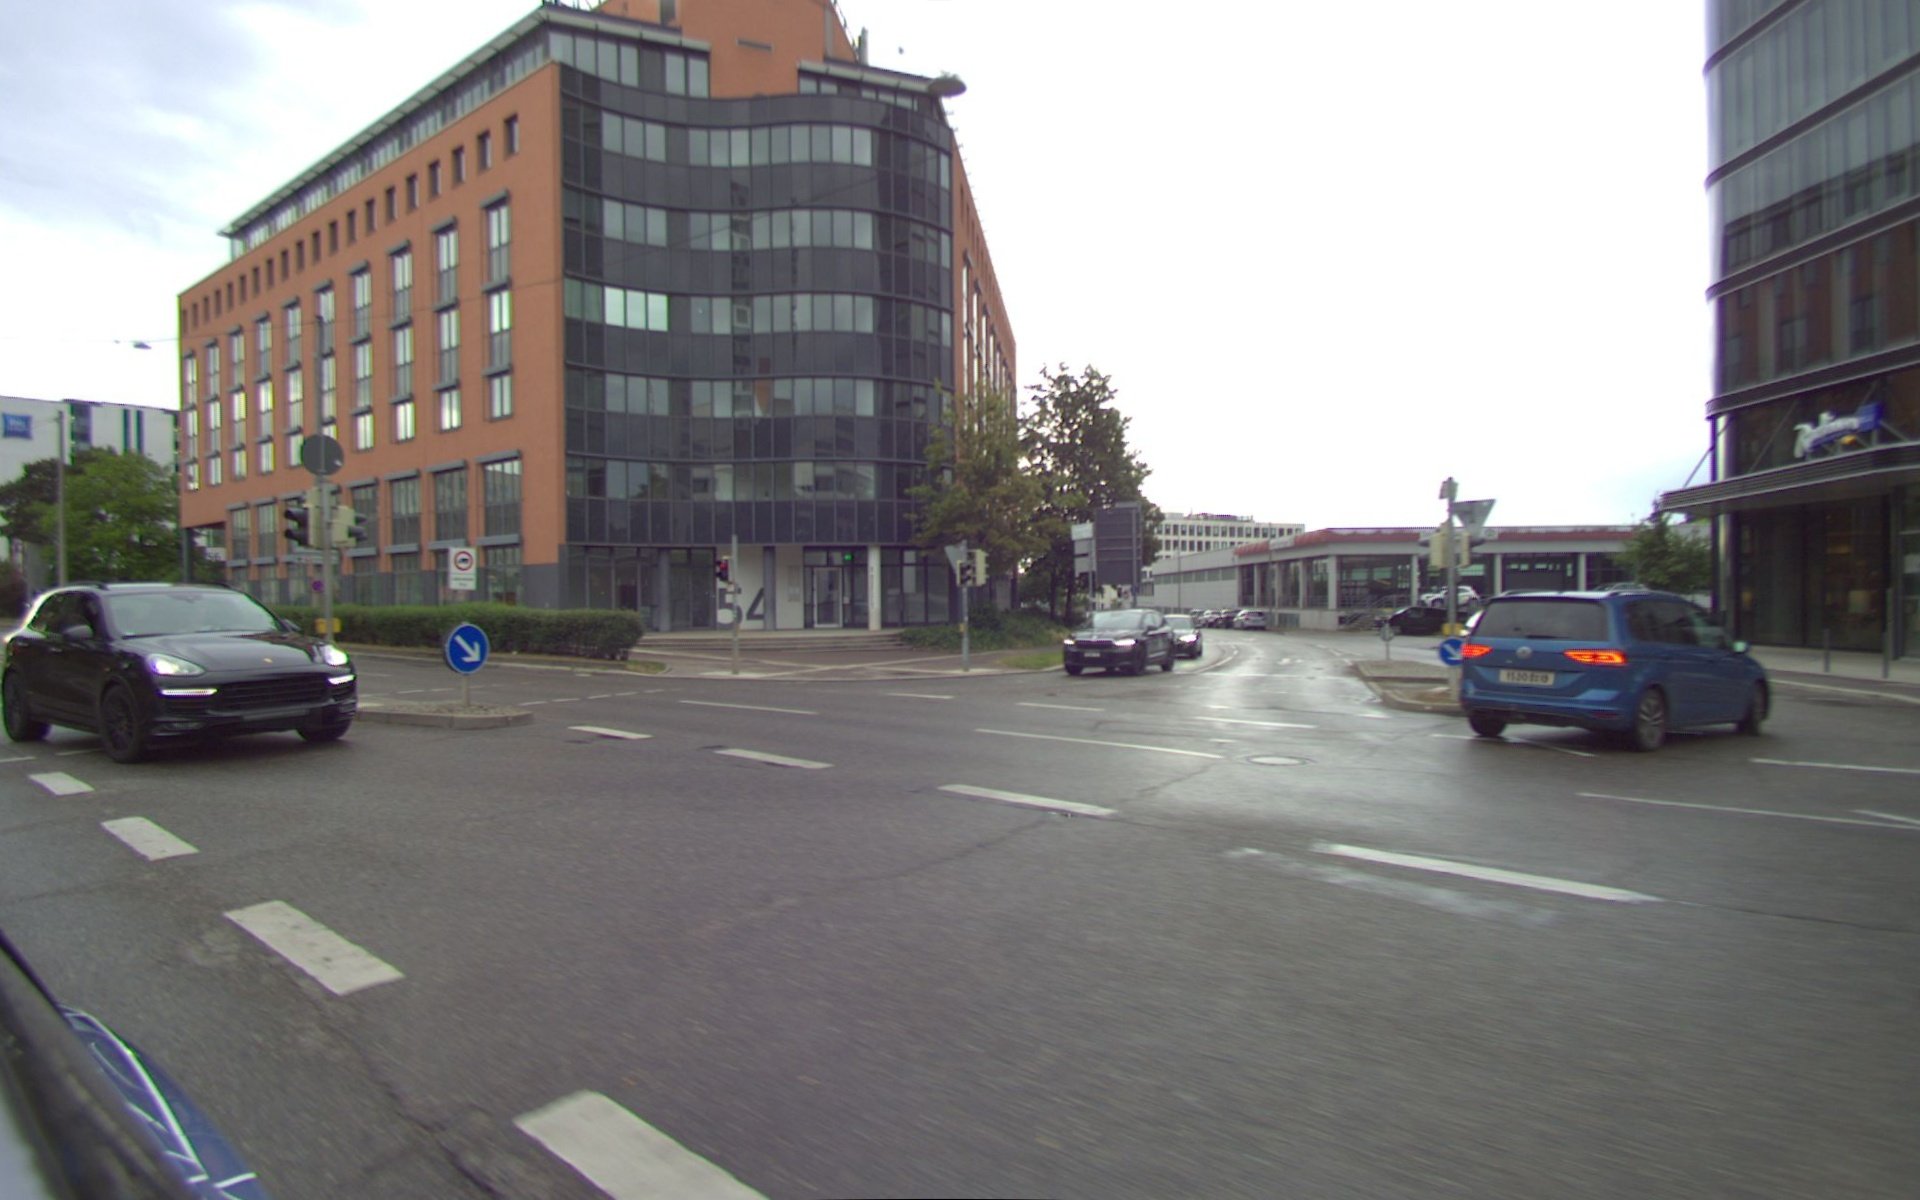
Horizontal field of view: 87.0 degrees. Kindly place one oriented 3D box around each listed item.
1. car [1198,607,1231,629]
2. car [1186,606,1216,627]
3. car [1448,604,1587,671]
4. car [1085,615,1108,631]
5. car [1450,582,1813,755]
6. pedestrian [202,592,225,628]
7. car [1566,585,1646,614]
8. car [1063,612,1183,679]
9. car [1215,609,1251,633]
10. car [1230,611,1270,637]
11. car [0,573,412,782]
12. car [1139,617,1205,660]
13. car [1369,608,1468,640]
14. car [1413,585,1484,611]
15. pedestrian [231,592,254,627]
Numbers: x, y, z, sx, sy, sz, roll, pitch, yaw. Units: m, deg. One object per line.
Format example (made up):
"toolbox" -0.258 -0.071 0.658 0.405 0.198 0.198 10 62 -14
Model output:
"car" 22.429 1.588 89.397 1.973 1.918 3.997 0 -1 2
"car" 22.671 1.520 95.306 1.973 1.918 3.997 0 -1 2
"car" 13.689 0.878 25.118 1.833 1.522 4.035 0 -1 10
"car" 13.529 2.274 100.508 1.776 1.522 3.997 -1 -1 2
"car" 7.514 0.669 11.246 4.125 1.608 1.783 1 -1 -31
"pedestrian" -39.762 0.514 53.918 0.884 1.854 0.739 0 1 38
"car" 41.426 -0.034 64.961 3.946 1.863 1.799 0 -1 3
"car" 4.147 1.088 25.195 1.846 1.522 4.336 -1 -2 25
"car" 22.414 1.698 83.159 1.973 1.918 3.997 0 -1 2
"car" 22.254 1.798 77.850 1.973 1.918 3.997 0 -1 2
"car" -8.077 0.638 10.477 5.410 1.679 1.977 -1 0 34
"car" 7.321 1.286 34.655 1.837 1.373 3.977 -1 -2 17
"car" 26.919 1.404 59.497 4.941 1.829 1.794 1 -1 7
"car" 32.058 -0.142 66.495 3.765 1.662 1.816 0 -1 3
"pedestrian" -38.642 0.496 54.502 0.884 1.854 0.739 0 1 38
